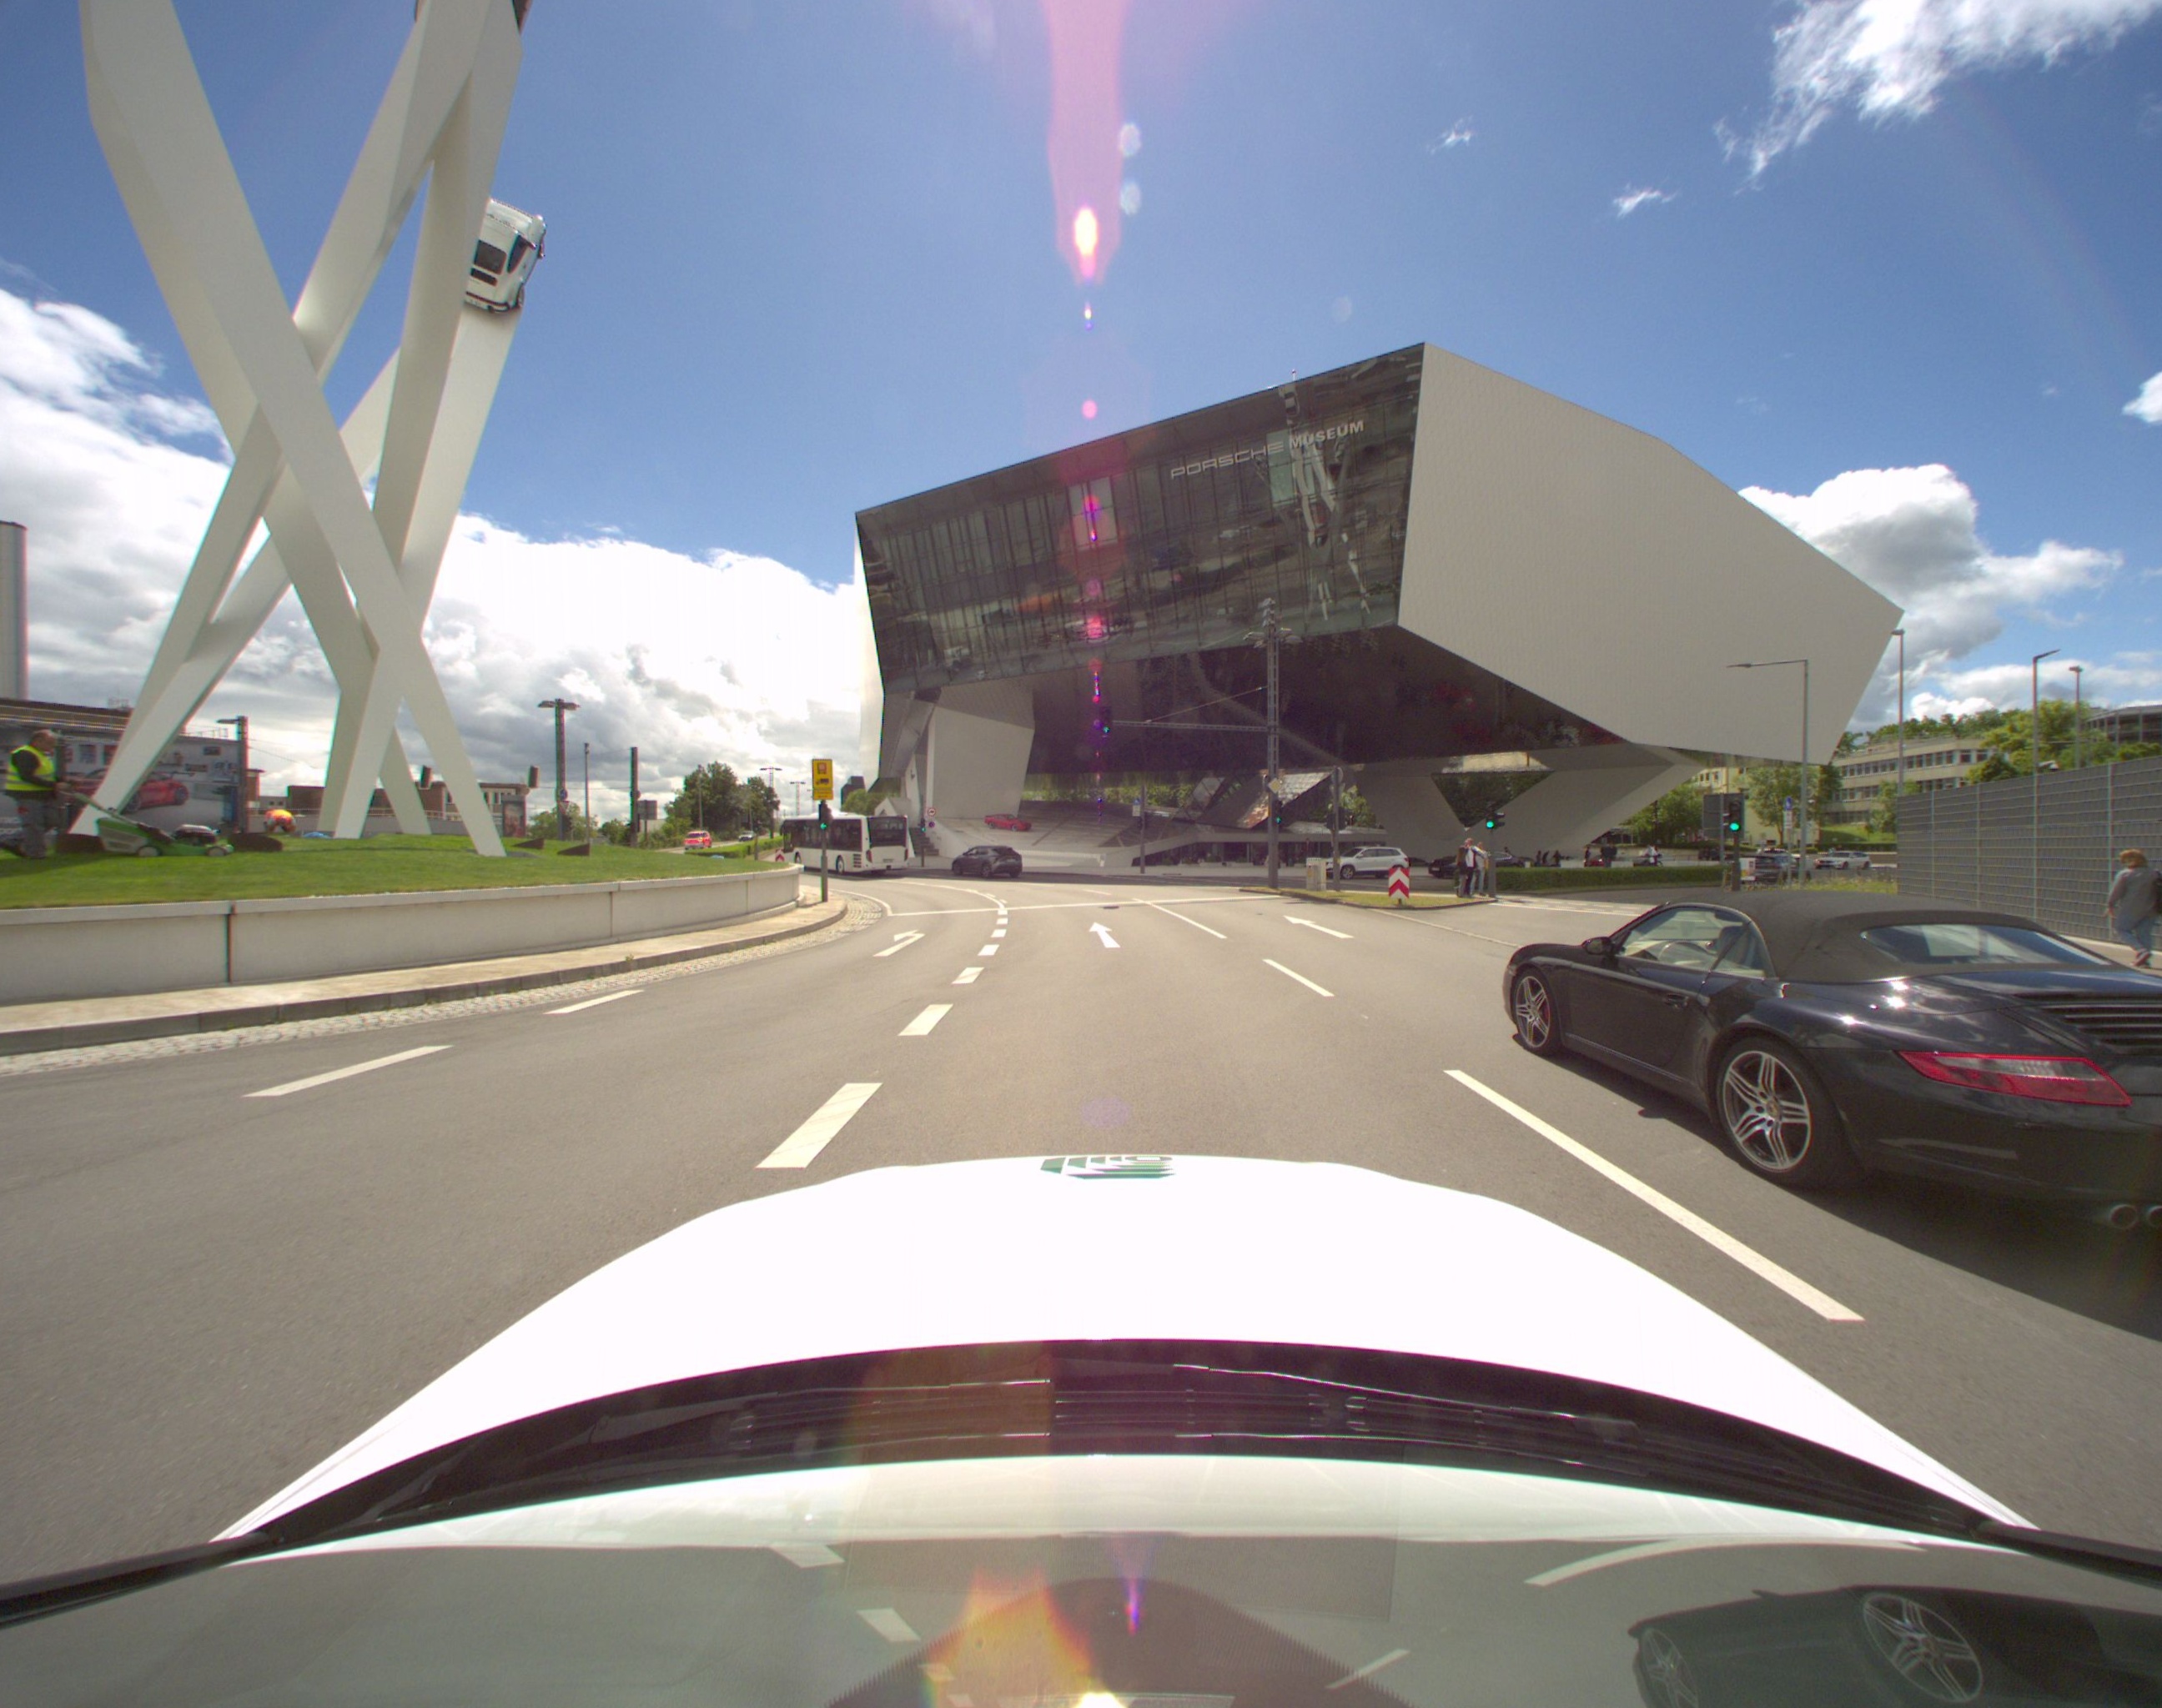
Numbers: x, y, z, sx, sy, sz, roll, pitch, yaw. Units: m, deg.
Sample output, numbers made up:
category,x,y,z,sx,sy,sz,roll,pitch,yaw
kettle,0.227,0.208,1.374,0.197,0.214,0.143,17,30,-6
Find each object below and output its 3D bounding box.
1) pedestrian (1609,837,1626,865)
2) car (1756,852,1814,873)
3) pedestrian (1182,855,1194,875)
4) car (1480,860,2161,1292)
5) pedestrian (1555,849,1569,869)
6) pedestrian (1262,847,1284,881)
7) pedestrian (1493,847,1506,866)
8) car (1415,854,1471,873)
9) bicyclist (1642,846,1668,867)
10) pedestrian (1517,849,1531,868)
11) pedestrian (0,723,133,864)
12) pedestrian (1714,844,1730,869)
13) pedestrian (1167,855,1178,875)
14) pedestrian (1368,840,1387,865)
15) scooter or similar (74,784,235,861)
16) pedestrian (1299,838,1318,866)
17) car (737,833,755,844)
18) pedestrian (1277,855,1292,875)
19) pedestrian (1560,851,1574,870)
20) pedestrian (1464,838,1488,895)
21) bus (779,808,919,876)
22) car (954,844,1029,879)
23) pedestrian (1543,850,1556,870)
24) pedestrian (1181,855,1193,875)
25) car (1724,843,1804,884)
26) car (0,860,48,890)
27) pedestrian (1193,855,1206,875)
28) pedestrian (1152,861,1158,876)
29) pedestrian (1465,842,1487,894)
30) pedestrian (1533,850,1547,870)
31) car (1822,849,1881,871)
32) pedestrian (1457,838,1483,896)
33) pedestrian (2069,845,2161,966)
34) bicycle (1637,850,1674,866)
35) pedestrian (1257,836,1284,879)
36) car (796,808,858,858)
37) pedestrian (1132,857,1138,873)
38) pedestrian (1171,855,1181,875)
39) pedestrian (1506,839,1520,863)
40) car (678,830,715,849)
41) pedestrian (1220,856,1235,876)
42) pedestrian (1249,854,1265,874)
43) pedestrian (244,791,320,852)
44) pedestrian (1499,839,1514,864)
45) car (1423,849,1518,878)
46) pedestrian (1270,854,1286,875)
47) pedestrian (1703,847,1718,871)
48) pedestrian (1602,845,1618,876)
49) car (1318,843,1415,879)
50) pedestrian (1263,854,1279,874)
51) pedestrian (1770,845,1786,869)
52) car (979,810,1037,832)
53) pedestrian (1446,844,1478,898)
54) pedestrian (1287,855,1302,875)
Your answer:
category,x,y,z,sx,sy,sz,roll,pitch,yaw
pedestrian,38.419,-0.218,58.344,0.831,2.014,0.768,1,-2,-34
car,68.801,0.809,79.686,4.157,2.014,2.012,0,-2,37
pedestrian,8.374,0.883,63.600,0.914,1.573,0.833,0,-1,11
car,4.099,0.773,4.725,1.826,1.325,4.005,-2,1,4
pedestrian,42.407,0.453,71.794,0.832,1.739,0.768,2,-2,-39
pedestrian,8.371,0.440,35.550,0.762,1.496,0.586,-1,-2,42
pedestrian,37.958,0.249,73.850,0.830,1.739,0.769,1,-2,-31
car,31.520,0.834,70.986,3.973,1.549,2.000,0,-1,0
bicyclist,35.455,0.158,50.291,1.007,1.275,0.880,1,-1,-22
pedestrian,40.599,0.400,74.658,0.831,1.739,0.768,1,-2,-34
pedestrian,-14.023,-0.824,10.972,1.290,1.815,0.977,-2,6,-32
pedestrian,51.190,0.210,65.055,0.831,2.014,0.768,1,-2,-34
pedestrian,7.293,0.901,64.887,0.822,1.573,0.926,0,-1,12
pedestrian,20.386,-0.111,56.070,0.832,1.676,0.916,1,-2,-25
scooter or similar,-13.264,-0.445,11.712,1.410,1.025,0.544,0,5,-35
pedestrian,15.529,-0.123,55.618,0.832,1.826,0.916,1,-2,-25
car,-47.501,-2.169,115.541,1.757,1.397,4.652,1,2,-14
pedestrian,16.289,0.852,65.236,0.832,1.573,0.916,1,-2,-25
pedestrian,43.466,0.586,72.783,0.830,1.739,0.769,1,-2,-31
pedestrian,12.859,0.410,26.530,0.664,1.847,0.624,0,-2,29
bus,-13.474,-0.699,46.203,3.097,3.362,12.083,1,0,-39
car,-4.643,0.329,41.966,2.010,1.636,3.953,-1,2,-40
pedestrian,41.689,0.568,72.464,0.830,1.739,0.769,1,-2,-32
pedestrian,8.429,0.904,64.666,0.914,1.573,0.833,0,-1,11
car,30.506,0.445,36.335,4.019,1.703,1.977,1,-2,-39
car,-56.209,1.069,41.814,3.968,1.501,2.002,0,-1,4
pedestrian,9.356,0.903,64.268,0.785,1.573,0.698,-1,-2,36
pedestrian,6.514,1.260,71.519,0.470,1.253,0.563,0,-1,7
pedestrian,13.377,0.473,27.586,0.599,1.759,0.624,0,-2,30
pedestrian,40.113,0.530,71.121,0.831,1.739,0.768,1,-2,-34
car,59.210,0.479,62.582,4.005,1.643,1.872,1,-1,-24
pedestrian,12.362,0.419,25.867,0.664,1.795,0.624,0,-2,31
pedestrian,14.404,0.689,11.158,0.688,1.586,0.925,0,-1,17
bicycle,35.505,0.274,50.324,2.359,0.973,0.713,1,-1,-22
pedestrian,8.953,0.144,38.474,0.950,1.984,1.381,0,1,1
car,-20.160,-1.515,64.248,3.352,3.504,9.262,1,-1,-26
pedestrian,4.315,0.894,65.424,0.394,1.253,0.400,1,-1,-5
pedestrian,7.437,0.859,63.695,0.823,1.573,0.925,0,-1,7
pedestrian,36.372,-0.216,68.578,0.831,2.014,0.768,1,-2,-34
car,-42.036,-1.640,89.150,1.990,1.983,4.831,-1,1,-4
pedestrian,11.706,0.961,65.056,0.832,1.573,0.916,1,-2,-25
pedestrian,13.891,0.773,64.168,0.832,1.573,0.916,1,-2,-25
pedestrian,-20.247,-0.811,20.658,0.848,1.406,0.967,-7,-2,7
pedestrian,35.431,-0.215,67.768,0.831,2.014,0.768,1,-2,-34
car,19.239,0.462,40.244,4.157,1.383,1.827,0,1,-19
pedestrian,15.511,0.826,64.195,0.832,1.573,0.916,1,-2,-25
pedestrian,52.788,0.426,68.309,0.831,2.014,0.768,1,-2,-34
pedestrian,34.786,0.417,53.560,0.767,2.014,0.832,0,-2,23
car,13.791,0.343,39.442,3.986,1.550,1.832,-2,-1,-10
pedestrian,15.176,0.799,65.047,0.832,1.573,0.916,1,-2,-25
pedestrian,58.143,0.231,67.957,0.818,2.014,0.781,0,-2,21
car,-6.199,-2.810,69.133,4.456,1.394,2.013,8,8,30
pedestrian,11.796,0.520,25.214,0.622,1.638,0.666,1,-2,-32
pedestrian,16.948,0.844,64.598,0.830,1.573,0.918,1,-1,-18
